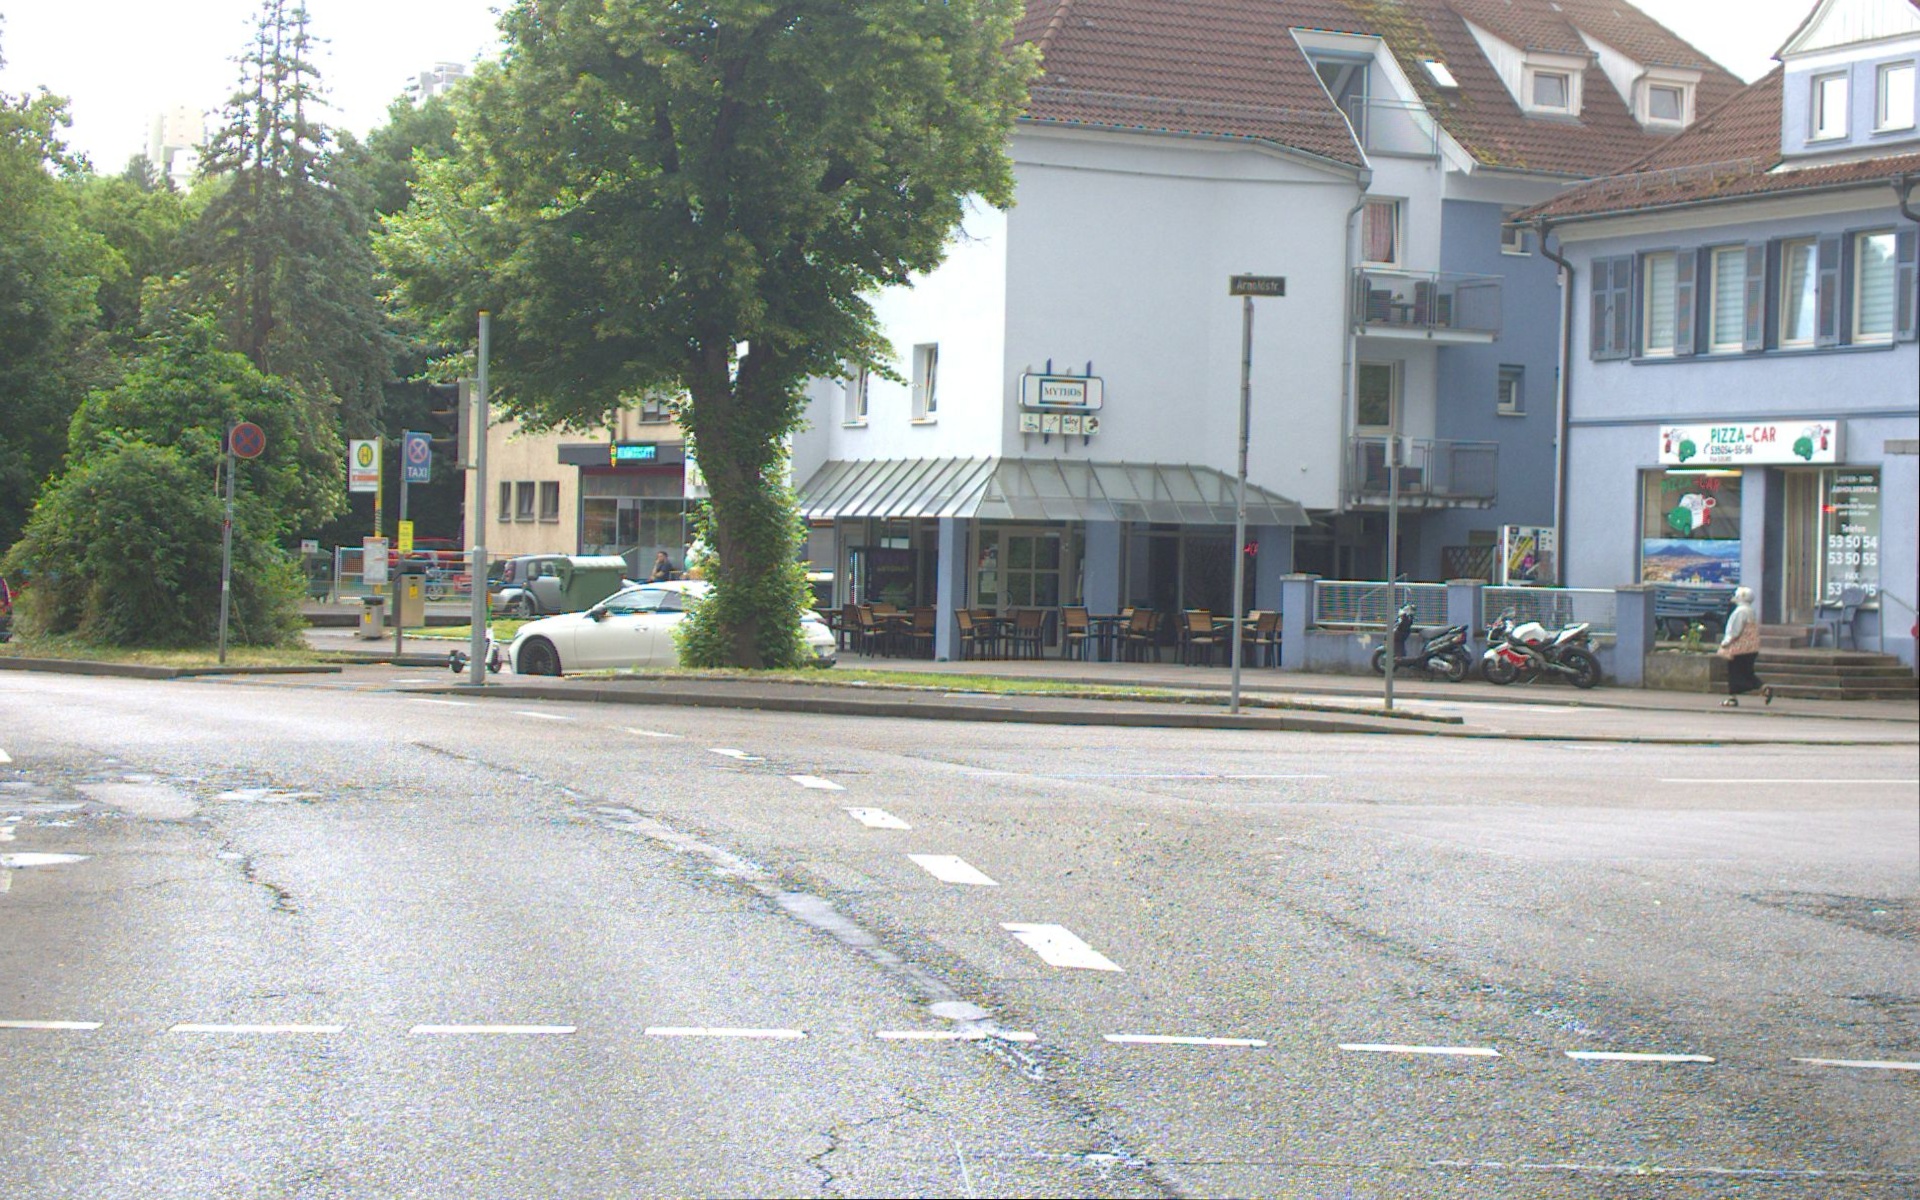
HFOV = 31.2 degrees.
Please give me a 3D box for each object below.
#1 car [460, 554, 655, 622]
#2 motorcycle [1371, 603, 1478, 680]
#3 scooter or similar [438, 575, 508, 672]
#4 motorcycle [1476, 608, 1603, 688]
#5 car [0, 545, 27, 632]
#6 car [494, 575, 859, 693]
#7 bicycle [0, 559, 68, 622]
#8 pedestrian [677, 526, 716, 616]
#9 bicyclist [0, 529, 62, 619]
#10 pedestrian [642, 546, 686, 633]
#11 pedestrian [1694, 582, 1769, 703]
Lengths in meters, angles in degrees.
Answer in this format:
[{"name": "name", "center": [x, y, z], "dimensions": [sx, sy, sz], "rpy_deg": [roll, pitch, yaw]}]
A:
[{"name": "car", "center": [-8.856, -0.264, 75.628], "dimensions": [3.936, 1.437, 1.753], "rpy_deg": [1, 1, -20]}, {"name": "motorcycle", "center": [6.775, 0.594, 50.132], "dimensions": [1.458, 1.085, 0.523], "rpy_deg": [1, 1, 35]}, {"name": "scooter or similar", "center": [-6.029, 0.285, 42.615], "dimensions": [0.442, 1.171, 1.437], "rpy_deg": [1, 1, 9]}, {"name": "motorcycle", "center": [8.150, 0.665, 48.363], "dimensions": [1.628, 1.085, 0.626], "rpy_deg": [1, 1, 32]}, {"name": "car", "center": [-16.419, -0.213, 53.519], "dimensions": [3.322, 1.347, 1.778], "rpy_deg": [1, 1, 27]}, {"name": "car", "center": [-3.803, 0.423, 45.759], "dimensions": [4.709, 1.405, 1.898], "rpy_deg": [2, 1, 35]}, {"name": "bicycle", "center": [-17.419, -0.180, 64.481], "dimensions": [0.873, 1.145, 1.953], "rpy_deg": [1, 1, 0]}, {"name": "pedestrian", "center": [-4.549, -0.499, 59.264], "dimensions": [0.543, 1.554, 0.467], "rpy_deg": [0, 0, 13]}, {"name": "bicyclist", "center": [-17.430, -0.493, 64.421], "dimensions": [0.915, 1.646, 0.989], "rpy_deg": [1, 1, -1]}, {"name": "pedestrian", "center": [-6.964, -0.251, 80.749], "dimensions": [0.837, 2.007, 1.056], "rpy_deg": [1, 1, -14]}, {"name": "pedestrian", "center": [10.084, 0.545, 44.927], "dimensions": [0.732, 1.554, 0.767], "rpy_deg": [1, 0, 31]}]
